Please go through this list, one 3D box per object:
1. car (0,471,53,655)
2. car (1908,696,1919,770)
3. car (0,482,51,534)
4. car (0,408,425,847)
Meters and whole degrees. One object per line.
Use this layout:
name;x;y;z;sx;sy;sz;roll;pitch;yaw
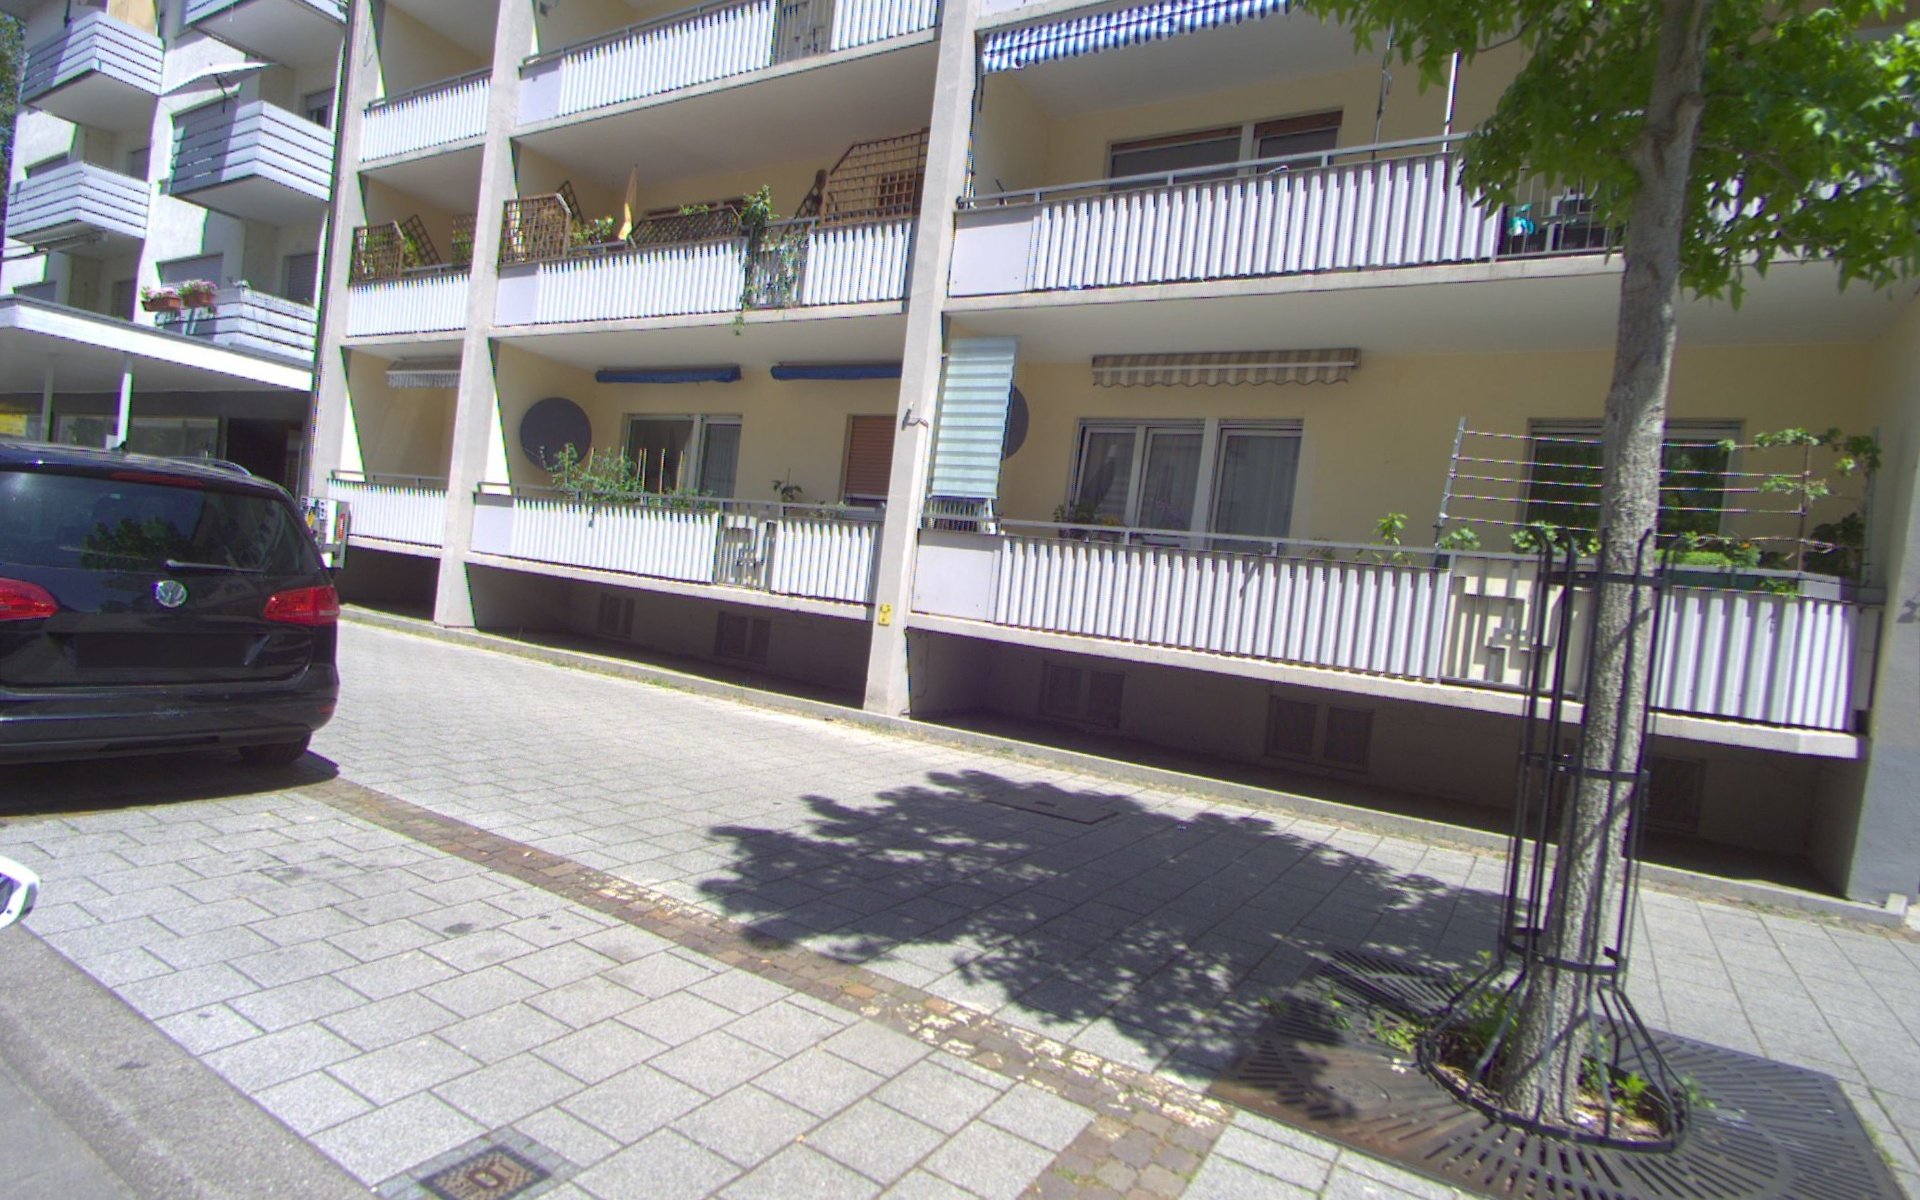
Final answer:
car;-10.305;-0.522;9.119;4.494;1.550;1.895;6;1;32
car;21.955;3.016;21.858;1.797;1.553;3.619;6;-1;45
car;-30.922;-3.002;31.155;3.924;1.472;1.848;5;2;4
car;-5.432;-0.101;5.971;4.495;1.822;1.994;8;2;34
